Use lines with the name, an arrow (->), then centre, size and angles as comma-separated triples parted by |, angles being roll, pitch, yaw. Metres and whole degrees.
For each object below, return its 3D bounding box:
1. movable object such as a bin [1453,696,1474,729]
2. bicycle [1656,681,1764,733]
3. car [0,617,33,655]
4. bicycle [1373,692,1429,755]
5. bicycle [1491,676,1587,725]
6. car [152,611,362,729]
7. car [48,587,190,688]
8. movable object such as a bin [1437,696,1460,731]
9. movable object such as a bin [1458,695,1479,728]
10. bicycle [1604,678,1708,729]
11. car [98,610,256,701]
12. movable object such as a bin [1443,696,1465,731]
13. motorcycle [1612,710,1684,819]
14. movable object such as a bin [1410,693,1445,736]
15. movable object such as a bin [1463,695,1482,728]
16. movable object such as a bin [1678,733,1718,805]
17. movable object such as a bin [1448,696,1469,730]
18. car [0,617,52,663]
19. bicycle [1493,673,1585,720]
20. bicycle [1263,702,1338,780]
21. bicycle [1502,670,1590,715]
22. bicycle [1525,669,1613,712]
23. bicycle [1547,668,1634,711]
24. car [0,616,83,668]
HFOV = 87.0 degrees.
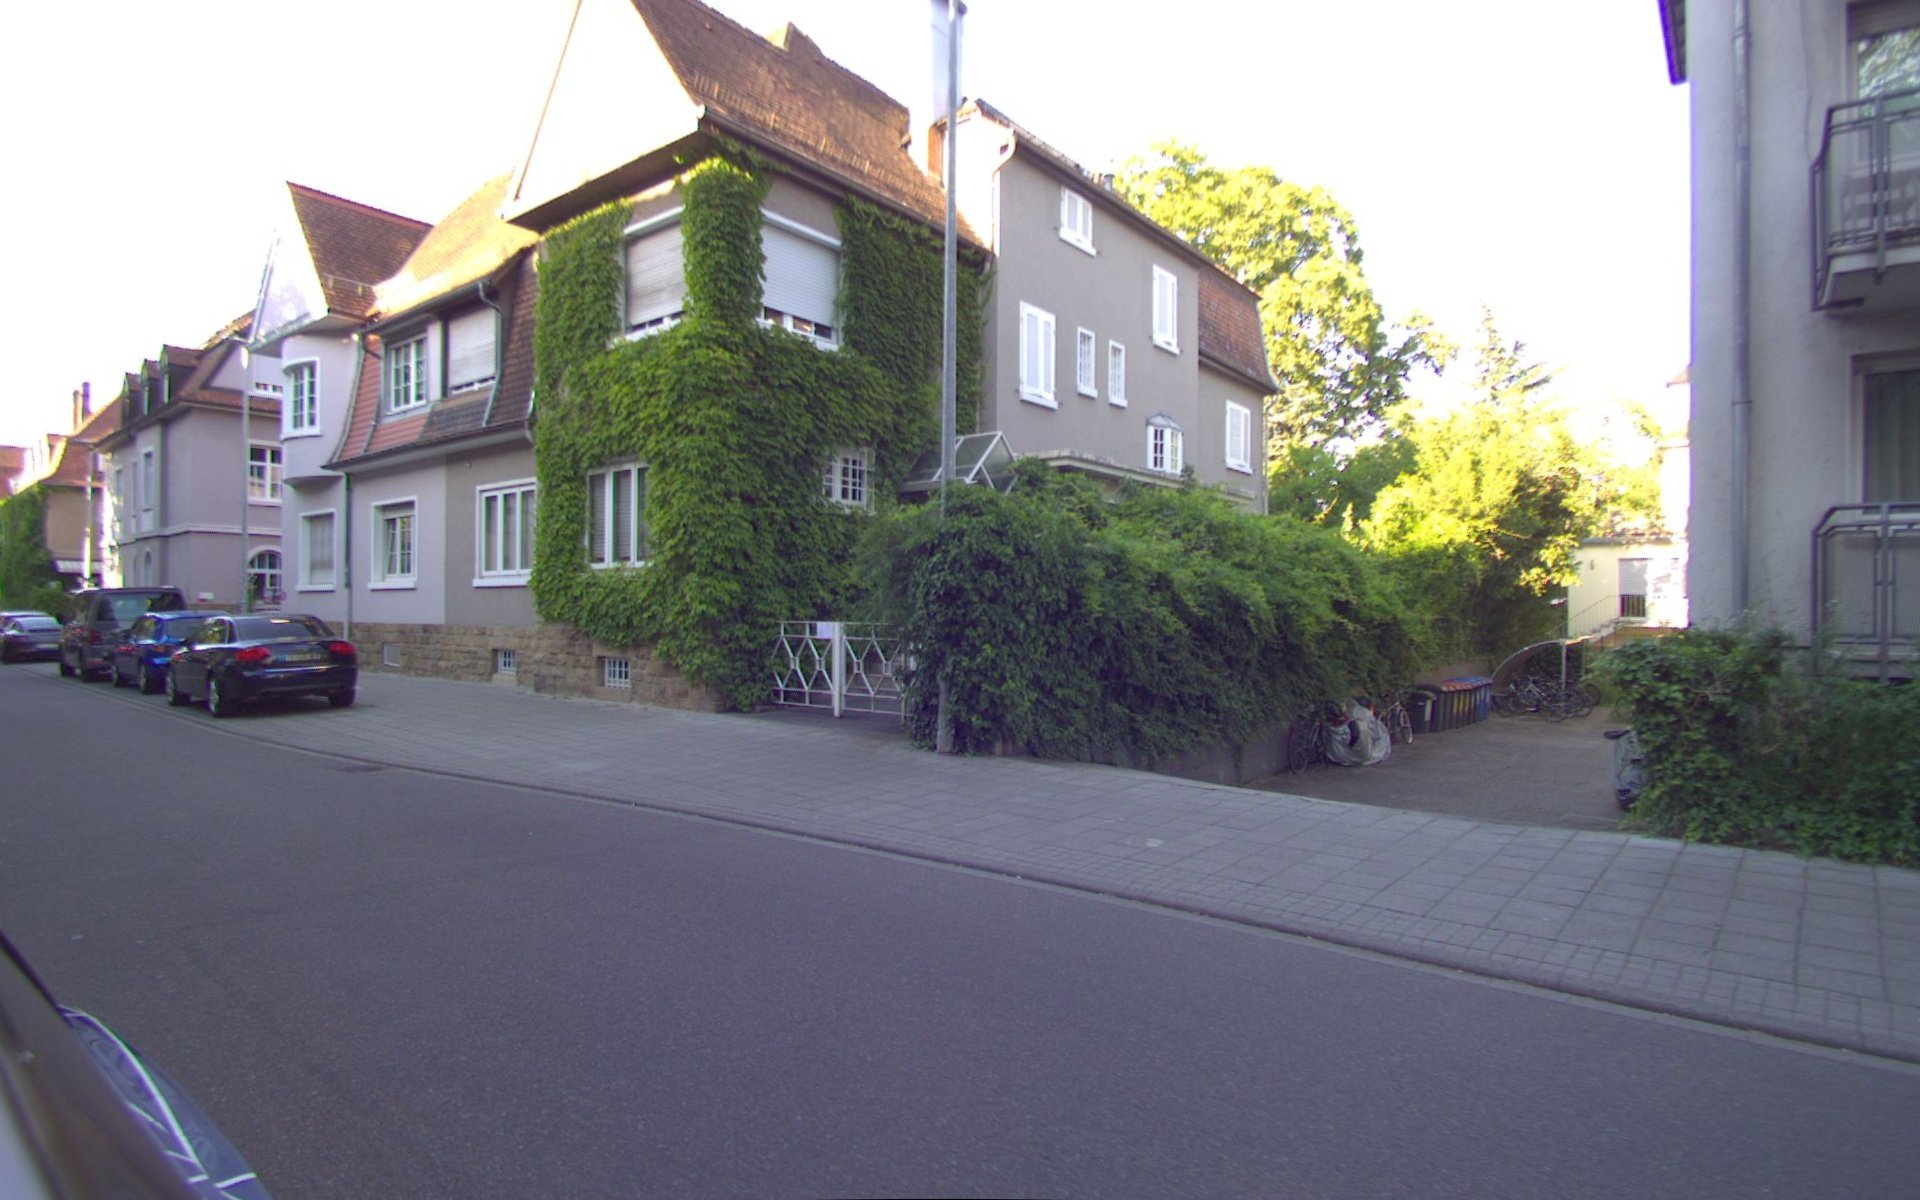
movable object such as a bin -> 12.048, 2.679, 24.208 | 0.367, 0.764, 0.359 | -1, -4, 42
bicycle -> 18.324, 2.592, 24.748 | 2.068, 1.028, 0.634 | 2, 3, 42
car -> -37.545, 1.389, 39.388 | 3.943, 1.381, 1.697 | -1, 1, 41
bicycle -> 8.669, 2.397, 19.863 | 0.514, 1.027, 1.913 | 1, 0, 39
bicycle -> 15.064, 2.603, 26.371 | 2.068, 1.028, 0.634 | 2, 3, 42
car -> -10.678, 0.933, 15.265 | 4.024, 1.439, 1.728 | 0, 2, 42
car -> -18.743, 0.757, 22.488 | 4.309, 1.987, 1.697 | 0, 2, 41
movable object such as a bin -> 11.254, 2.609, 23.319 | 0.398, 0.779, 0.359 | -1, -4, 42
movable object such as a bin -> 12.301, 2.696, 24.494 | 0.367, 0.764, 0.359 | -1, -4, 42
bicycle -> 17.496, 2.577, 25.476 | 2.068, 1.028, 0.634 | 2, 3, 42
car -> -15.015, 0.977, 19.334 | 4.022, 1.475, 1.590 | 0, 2, 41
movable object such as a bin -> 11.527, 2.635, 23.619 | 0.381, 0.779, 0.359 | -1, -4, 42
motorcycle -> 9.381, 2.196, 13.796 | 0.757, 1.261, 1.575 | -1, -3, 35
movable object such as a bin -> 10.283, 2.509, 22.265 | 0.576, 0.886, 0.488 | 0, -3, 42
movable object such as a bin -> 12.560, 2.728, 24.808 | 0.346, 0.764, 0.359 | -1, -4, 42
movable object such as a bin -> 10.408, 2.365, 14.269 | 0.432, 0.894, 0.717 | -1, -3, 37
movable object such as a bin -> 11.782, 2.660, 23.918 | 0.375, 0.764, 0.359 | -1, -4, 42
car -> -31.456, 1.297, 33.548 | 3.943, 1.381, 1.522 | -1, 1, 41
bicycle -> 15.641, 2.597, 27.375 | 2.068, 1.028, 0.565 | 2, 3, 42
bicycle -> 5.610, 2.286, 16.609 | 0.514, 1.027, 1.913 | 1, 0, 39
bicycle -> 16.516, 2.587, 28.567 | 2.068, 1.028, 0.608 | 2, 3, 42
bicycle -> 17.439, 2.577, 29.021 | 2.068, 1.028, 0.608 | 2, 3, 42
bicycle -> 18.244, 2.569, 29.316 | 2.068, 1.028, 0.561 | 2, 3, 42
car -> -27.449, 1.202, 29.913 | 4.332, 1.381, 1.697 | -1, 1, 41
